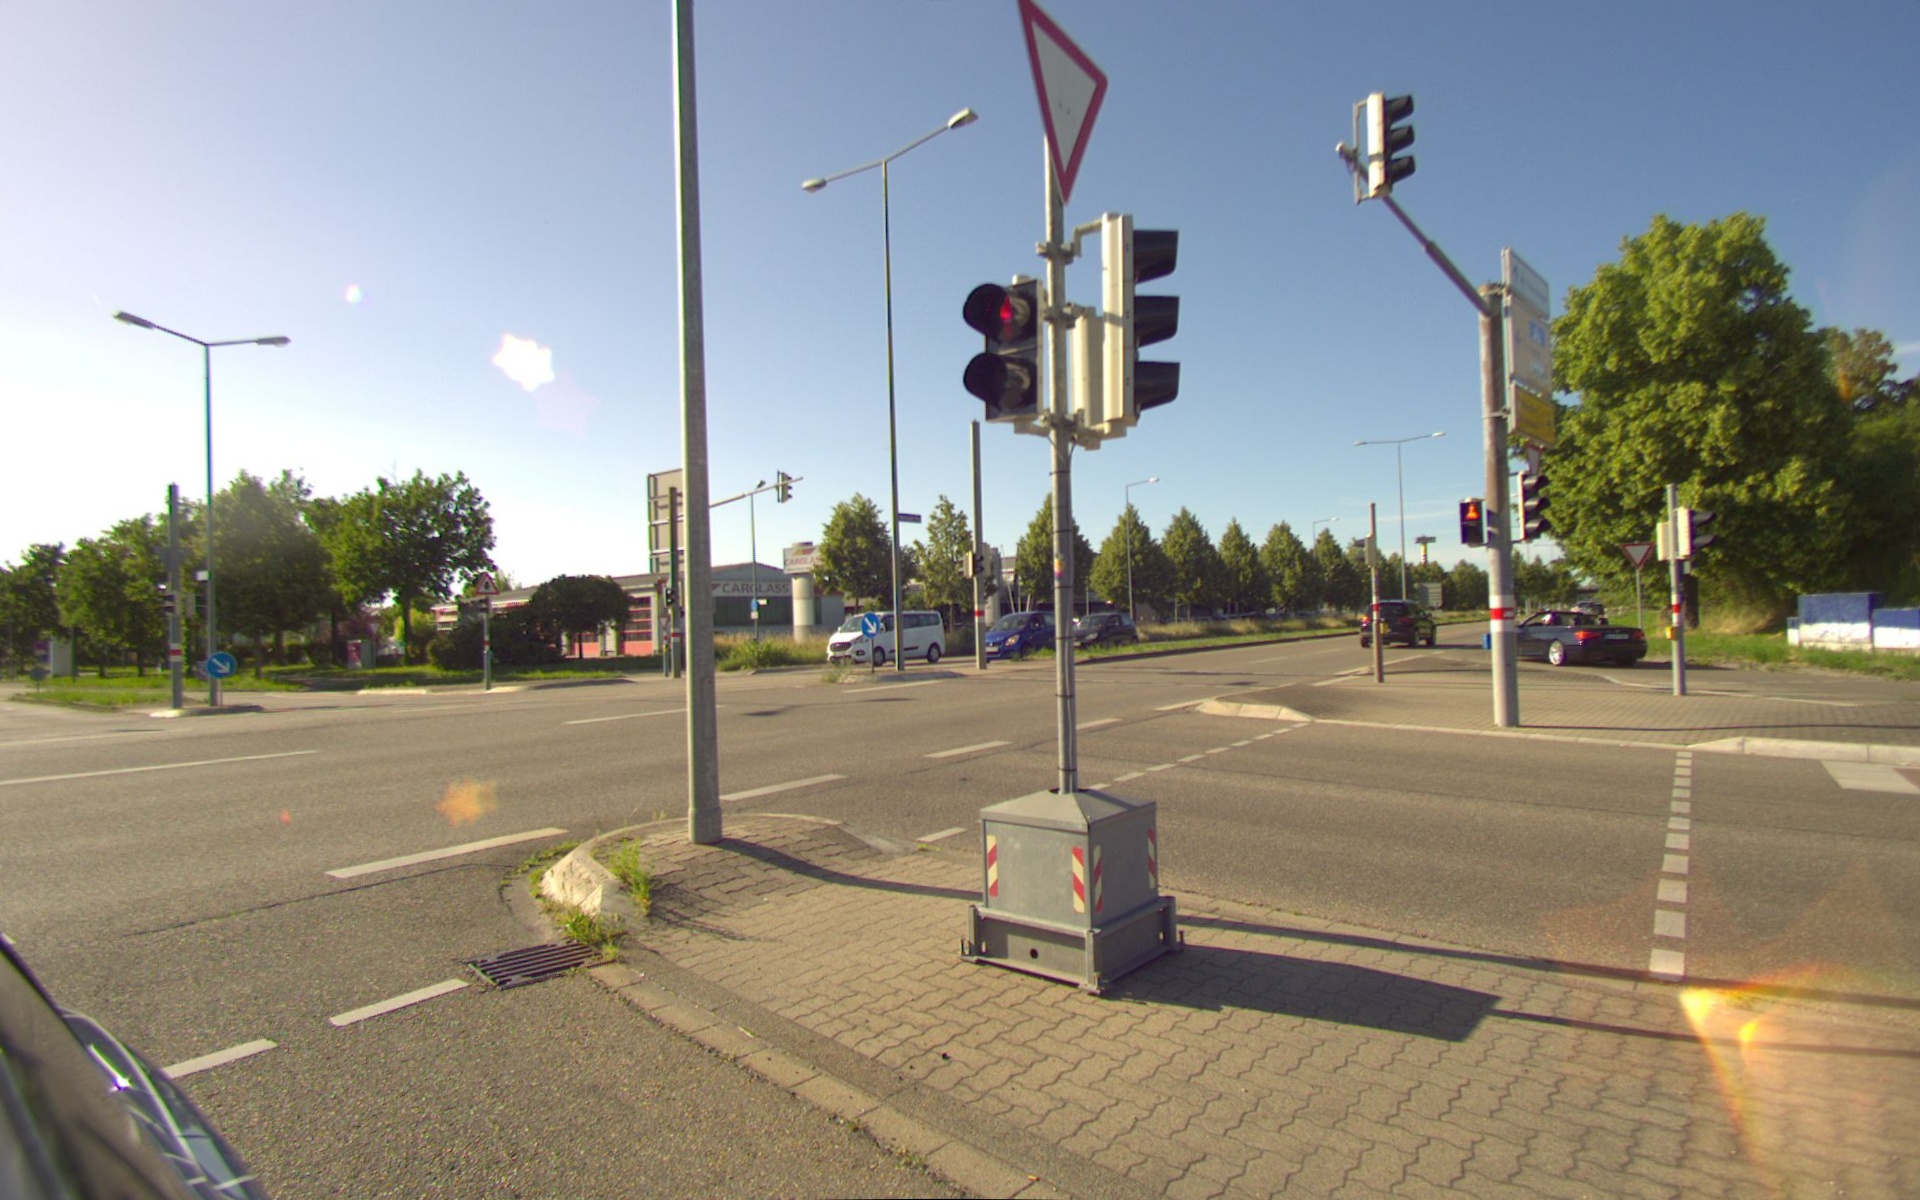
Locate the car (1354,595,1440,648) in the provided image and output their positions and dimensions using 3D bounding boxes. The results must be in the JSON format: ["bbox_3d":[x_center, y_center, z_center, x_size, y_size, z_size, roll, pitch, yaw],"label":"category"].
[{"bbox_3d":[15.492,0.720,35.751,1.830,1.639,3.950,-4,-1,37],"label":"car"}]

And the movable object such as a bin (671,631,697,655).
[{"bbox_3d":[-16.244,2.538,59.617,0.992,1.308,1.115,-4,-3,42],"label":"movable object such as a bin"}]

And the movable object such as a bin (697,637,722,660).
[{"bbox_3d":[-15.142,2.934,61.140,0.992,1.308,1.115,-4,-3,42],"label":"movable object such as a bin"}]

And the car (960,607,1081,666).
[{"bbox_3d":[1.971,1.121,32.022,1.889,1.656,3.990,-5,-4,36],"label":"car"}]

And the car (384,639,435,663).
[{"bbox_3d":[-55.260,5.103,101.650,1.776,2.234,4.159,-4,-3,40],"label":"car"}]

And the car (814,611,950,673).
[{"bbox_3d":[-2.776,1.505,37.332,2.044,2.029,5.211,-5,-4,36],"label":"car"}]

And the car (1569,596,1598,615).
[{"bbox_3d":[57.721,0.518,93.685,2.042,1.628,4.367,-5,-3,33],"label":"car"}]

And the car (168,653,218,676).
[{"bbox_3d":[-78.945,6.604,104.176,3.937,2.029,2.003,-3,-1,-40],"label":"car"}]

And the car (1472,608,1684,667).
[{"bbox_3d":[15.115,0.858,25.129,2.016,1.319,4.690,0,0,-6],"label":"car"}]

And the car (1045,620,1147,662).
[{"bbox_3d":[4.923,1.448,36.324,1.889,1.284,3.990,-5,-4,36],"label":"car"}]
